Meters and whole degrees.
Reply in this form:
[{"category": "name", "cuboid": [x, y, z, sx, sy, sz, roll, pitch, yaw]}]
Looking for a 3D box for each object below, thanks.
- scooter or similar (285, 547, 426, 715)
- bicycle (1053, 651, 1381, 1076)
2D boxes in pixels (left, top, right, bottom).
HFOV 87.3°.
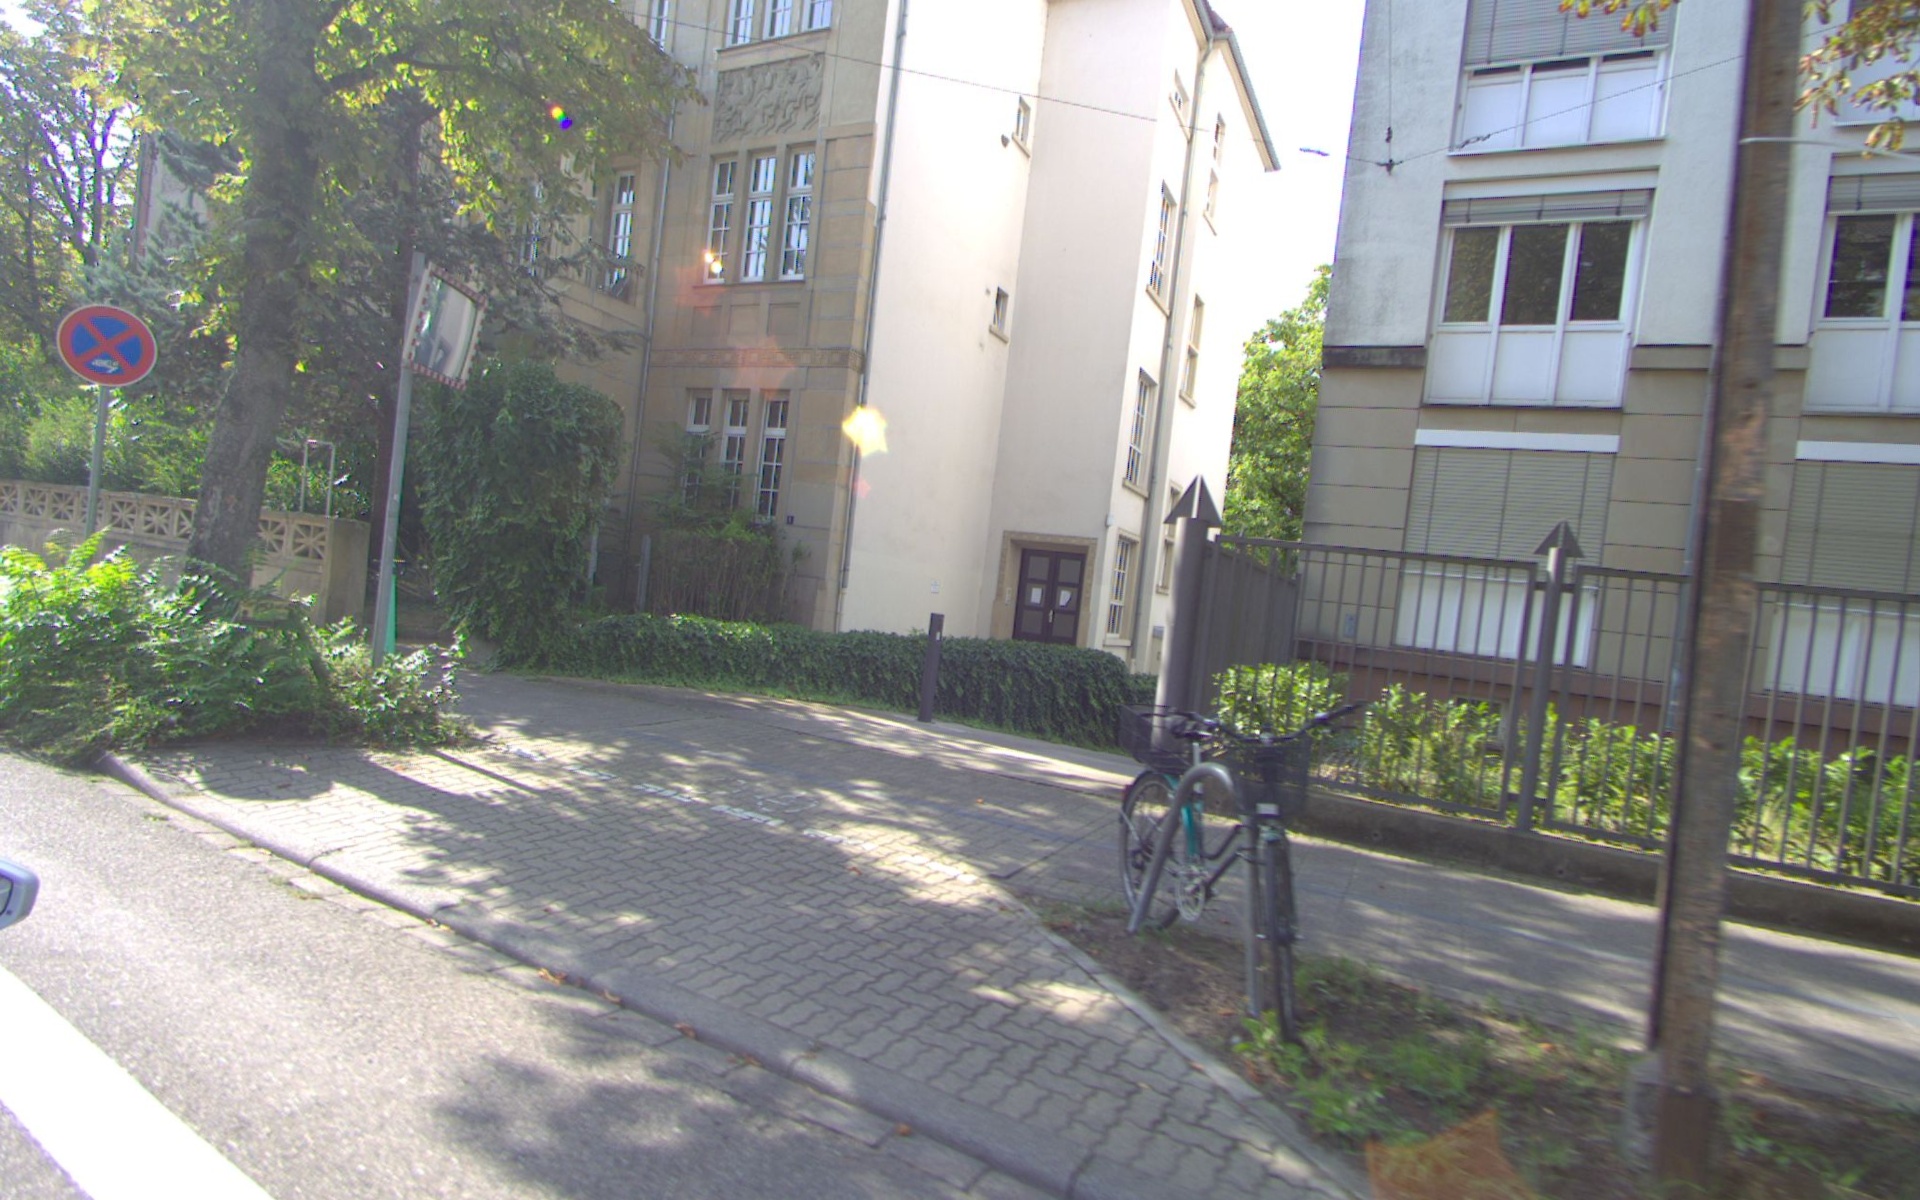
[{"category": "scooter or similar", "cuboid": [-4.932, 0.228, 8.195, 1.017, 1.214, 0.557, 7, 4, 32]}, {"category": "bicycle", "cuboid": [0.924, 0.907, 4.183, 0.496, 1.183, 1.835, 1, 4, -13]}]
